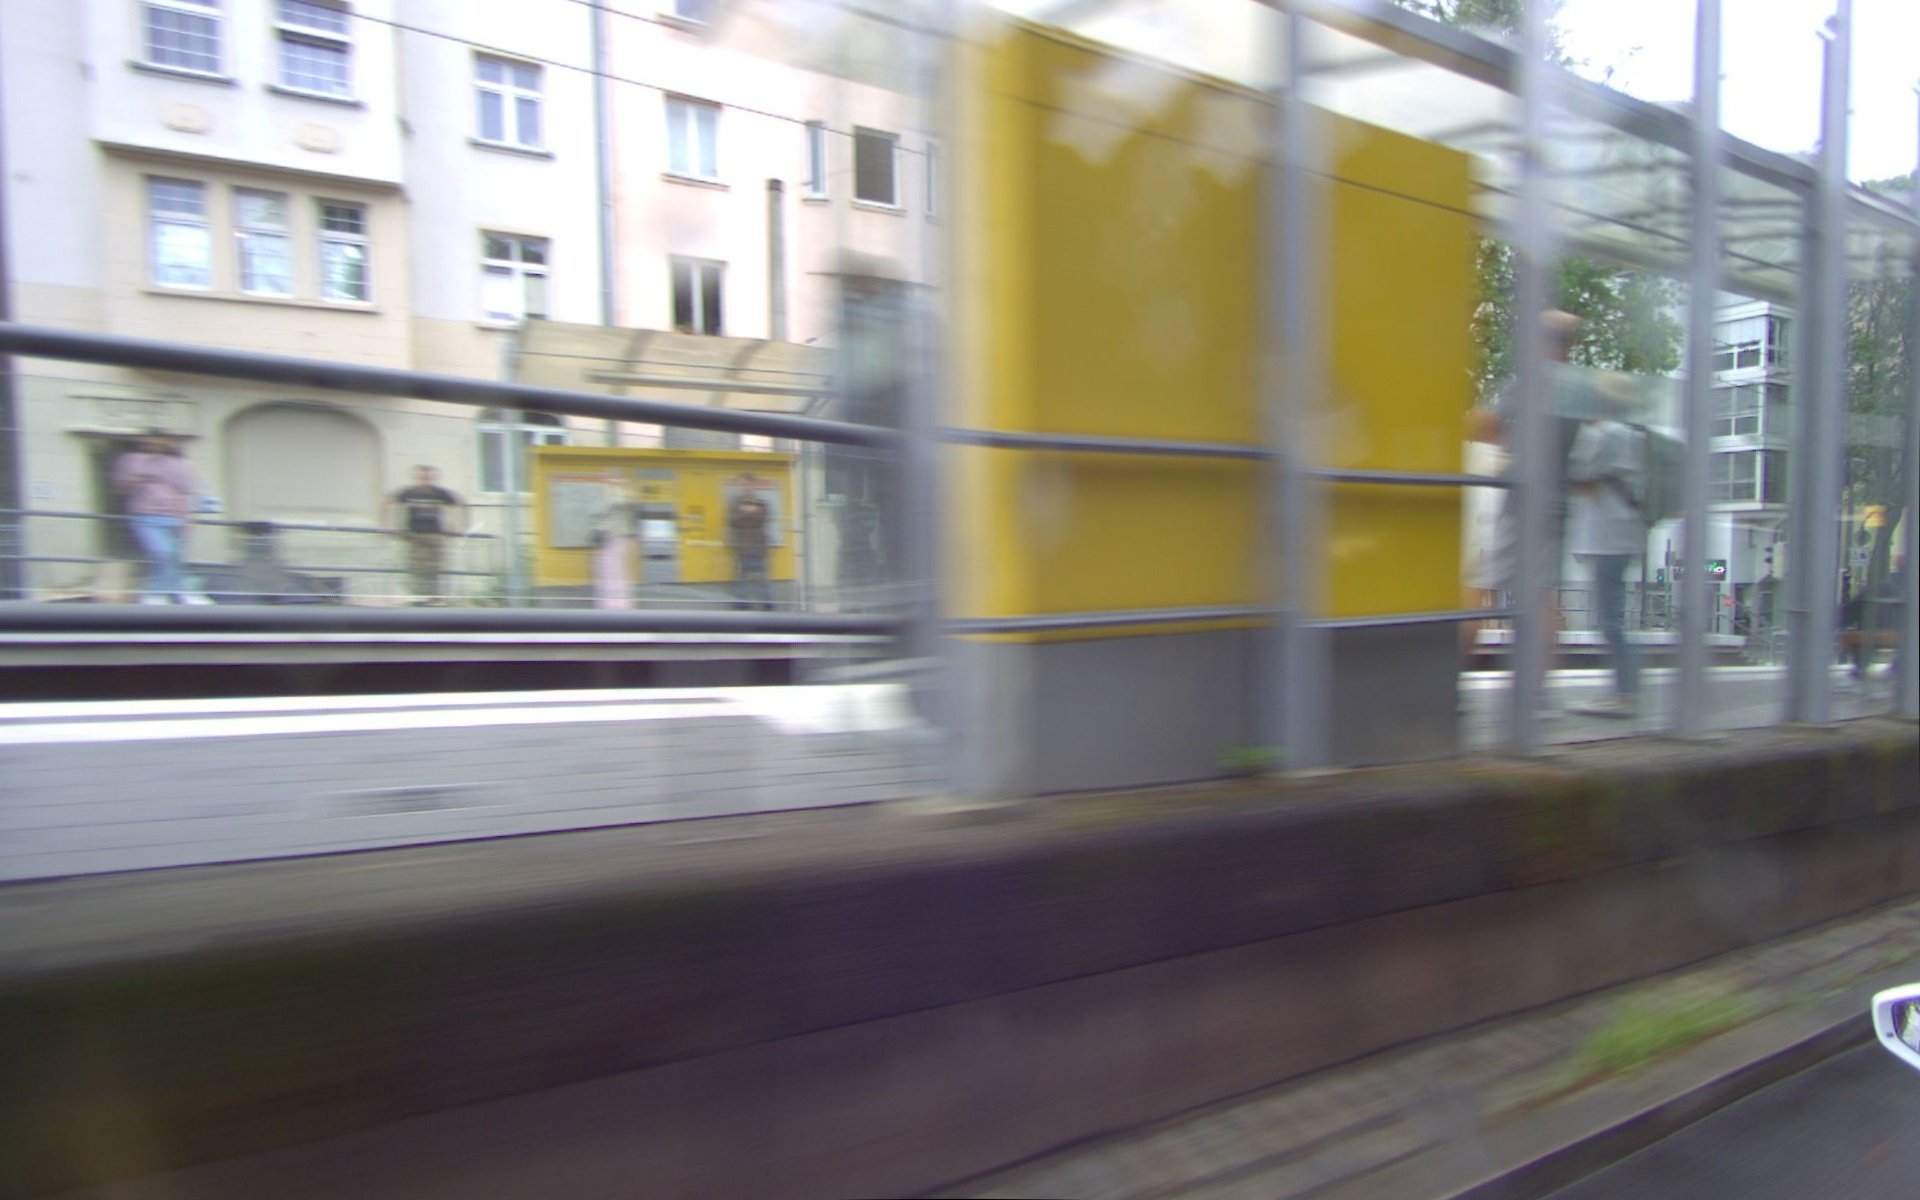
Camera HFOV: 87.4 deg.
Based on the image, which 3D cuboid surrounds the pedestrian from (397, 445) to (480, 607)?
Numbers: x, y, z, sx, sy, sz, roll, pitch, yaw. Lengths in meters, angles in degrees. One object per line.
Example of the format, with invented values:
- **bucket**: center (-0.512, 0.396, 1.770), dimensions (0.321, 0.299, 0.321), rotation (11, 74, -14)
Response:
- **pedestrian**: center (-5.741, -0.782, 11.067), dimensions (0.753, 1.688, 0.591), rotation (2, -1, -29)

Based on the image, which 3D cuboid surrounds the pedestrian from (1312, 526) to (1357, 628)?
- **pedestrian**: center (6.640, -0.404, 17.803), dimensions (0.557, 1.764, 0.480), rotation (2, -1, -29)

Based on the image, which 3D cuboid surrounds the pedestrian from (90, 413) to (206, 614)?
- **pedestrian**: center (-7.922, -0.809, 9.830), dimensions (0.753, 1.862, 0.513), rotation (2, -1, -29)

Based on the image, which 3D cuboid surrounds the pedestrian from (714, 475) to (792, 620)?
- **pedestrian**: center (-2.524, -0.615, 12.221), dimensions (0.753, 1.688, 0.591), rotation (2, -1, -29)

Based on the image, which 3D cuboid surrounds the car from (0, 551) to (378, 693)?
- **car**: center (-10.988, 0.328, 14.030), dimensions (4.752, 1.755, 1.986), rotation (2, -1, -27)

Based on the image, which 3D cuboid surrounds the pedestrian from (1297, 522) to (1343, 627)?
- **pedestrian**: center (6.221, -0.422, 17.354), dimensions (0.557, 1.764, 0.480), rotation (2, -1, -29)

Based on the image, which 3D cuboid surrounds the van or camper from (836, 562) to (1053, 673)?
- **van or camper**: center (-0.301, 0.339, 20.374), dimensions (3.953, 2.040, 1.984), rotation (1, 0, -30)

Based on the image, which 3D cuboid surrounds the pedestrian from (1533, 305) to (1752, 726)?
- **pedestrian**: center (3.383, -0.380, 4.992), dimensions (0.703, 1.906, 0.586), rotation (1, 1, -30)

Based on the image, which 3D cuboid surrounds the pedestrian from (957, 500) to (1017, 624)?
- **pedestrian**: center (0.376, -0.512, 14.077), dimensions (0.607, 1.688, 0.547), rotation (2, -1, -29)

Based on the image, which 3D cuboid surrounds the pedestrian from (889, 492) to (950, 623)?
- **pedestrian**: center (-0.540, -0.546, 13.430), dimensions (0.584, 1.688, 0.591), rotation (2, -1, -29)

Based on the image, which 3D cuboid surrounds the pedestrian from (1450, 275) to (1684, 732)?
- **pedestrian**: center (2.764, -0.397, 4.594), dimensions (0.703, 1.890, 0.586), rotation (1, 1, -30)
